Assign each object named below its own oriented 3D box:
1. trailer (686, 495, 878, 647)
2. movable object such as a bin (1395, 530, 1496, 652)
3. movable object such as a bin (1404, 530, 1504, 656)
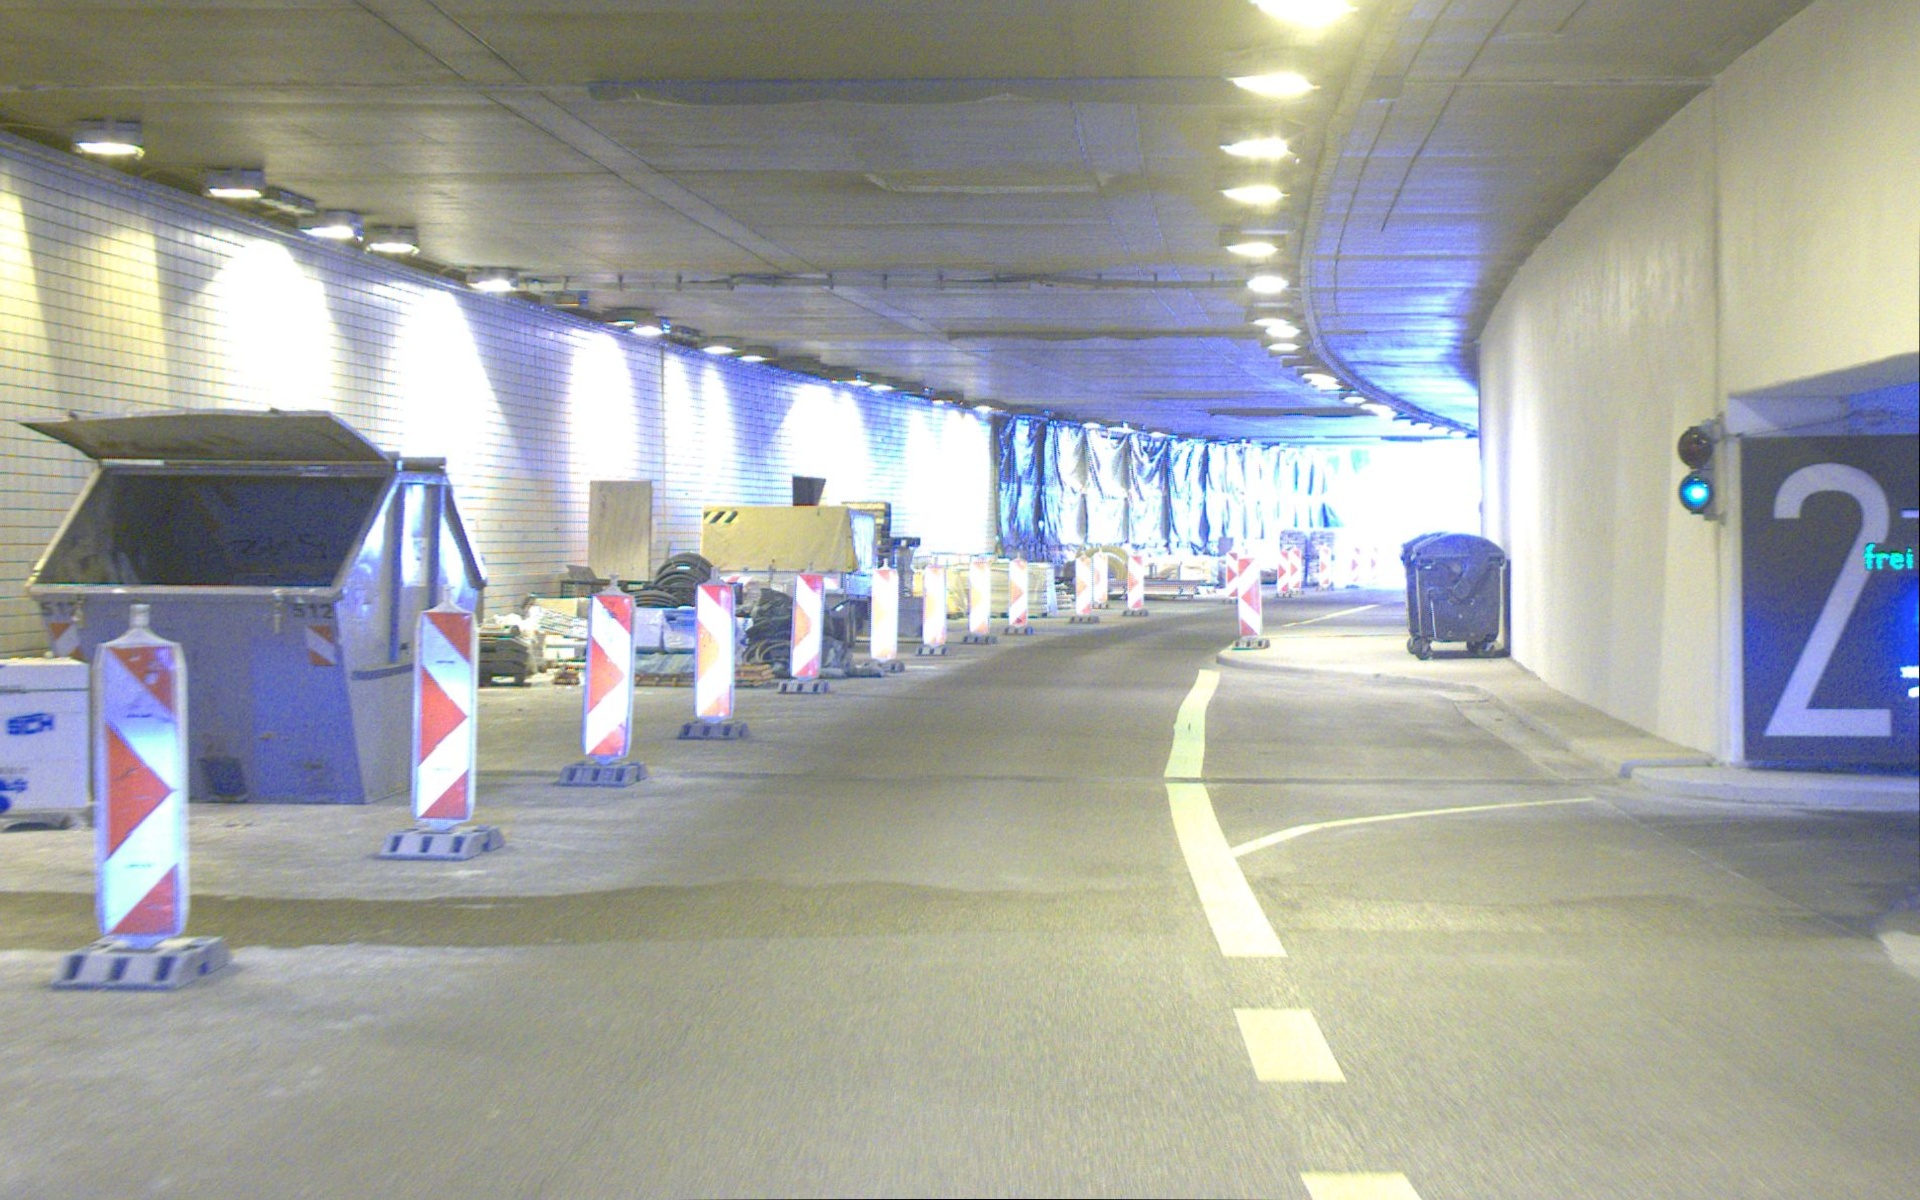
[{"bbox_3d":[-2.404,-0.409,47.276,2.208,2.007,3.466,0,1,4],"label":"trailer"},{"bbox_3d":[5.855,-0.117,41.543,1.146,1.440,1.363,0,0,6],"label":"movable object such as a bin"},{"bbox_3d":[5.755,-0.090,40.129,1.098,1.440,1.322,0,0,6],"label":"movable object such as a bin"}]
